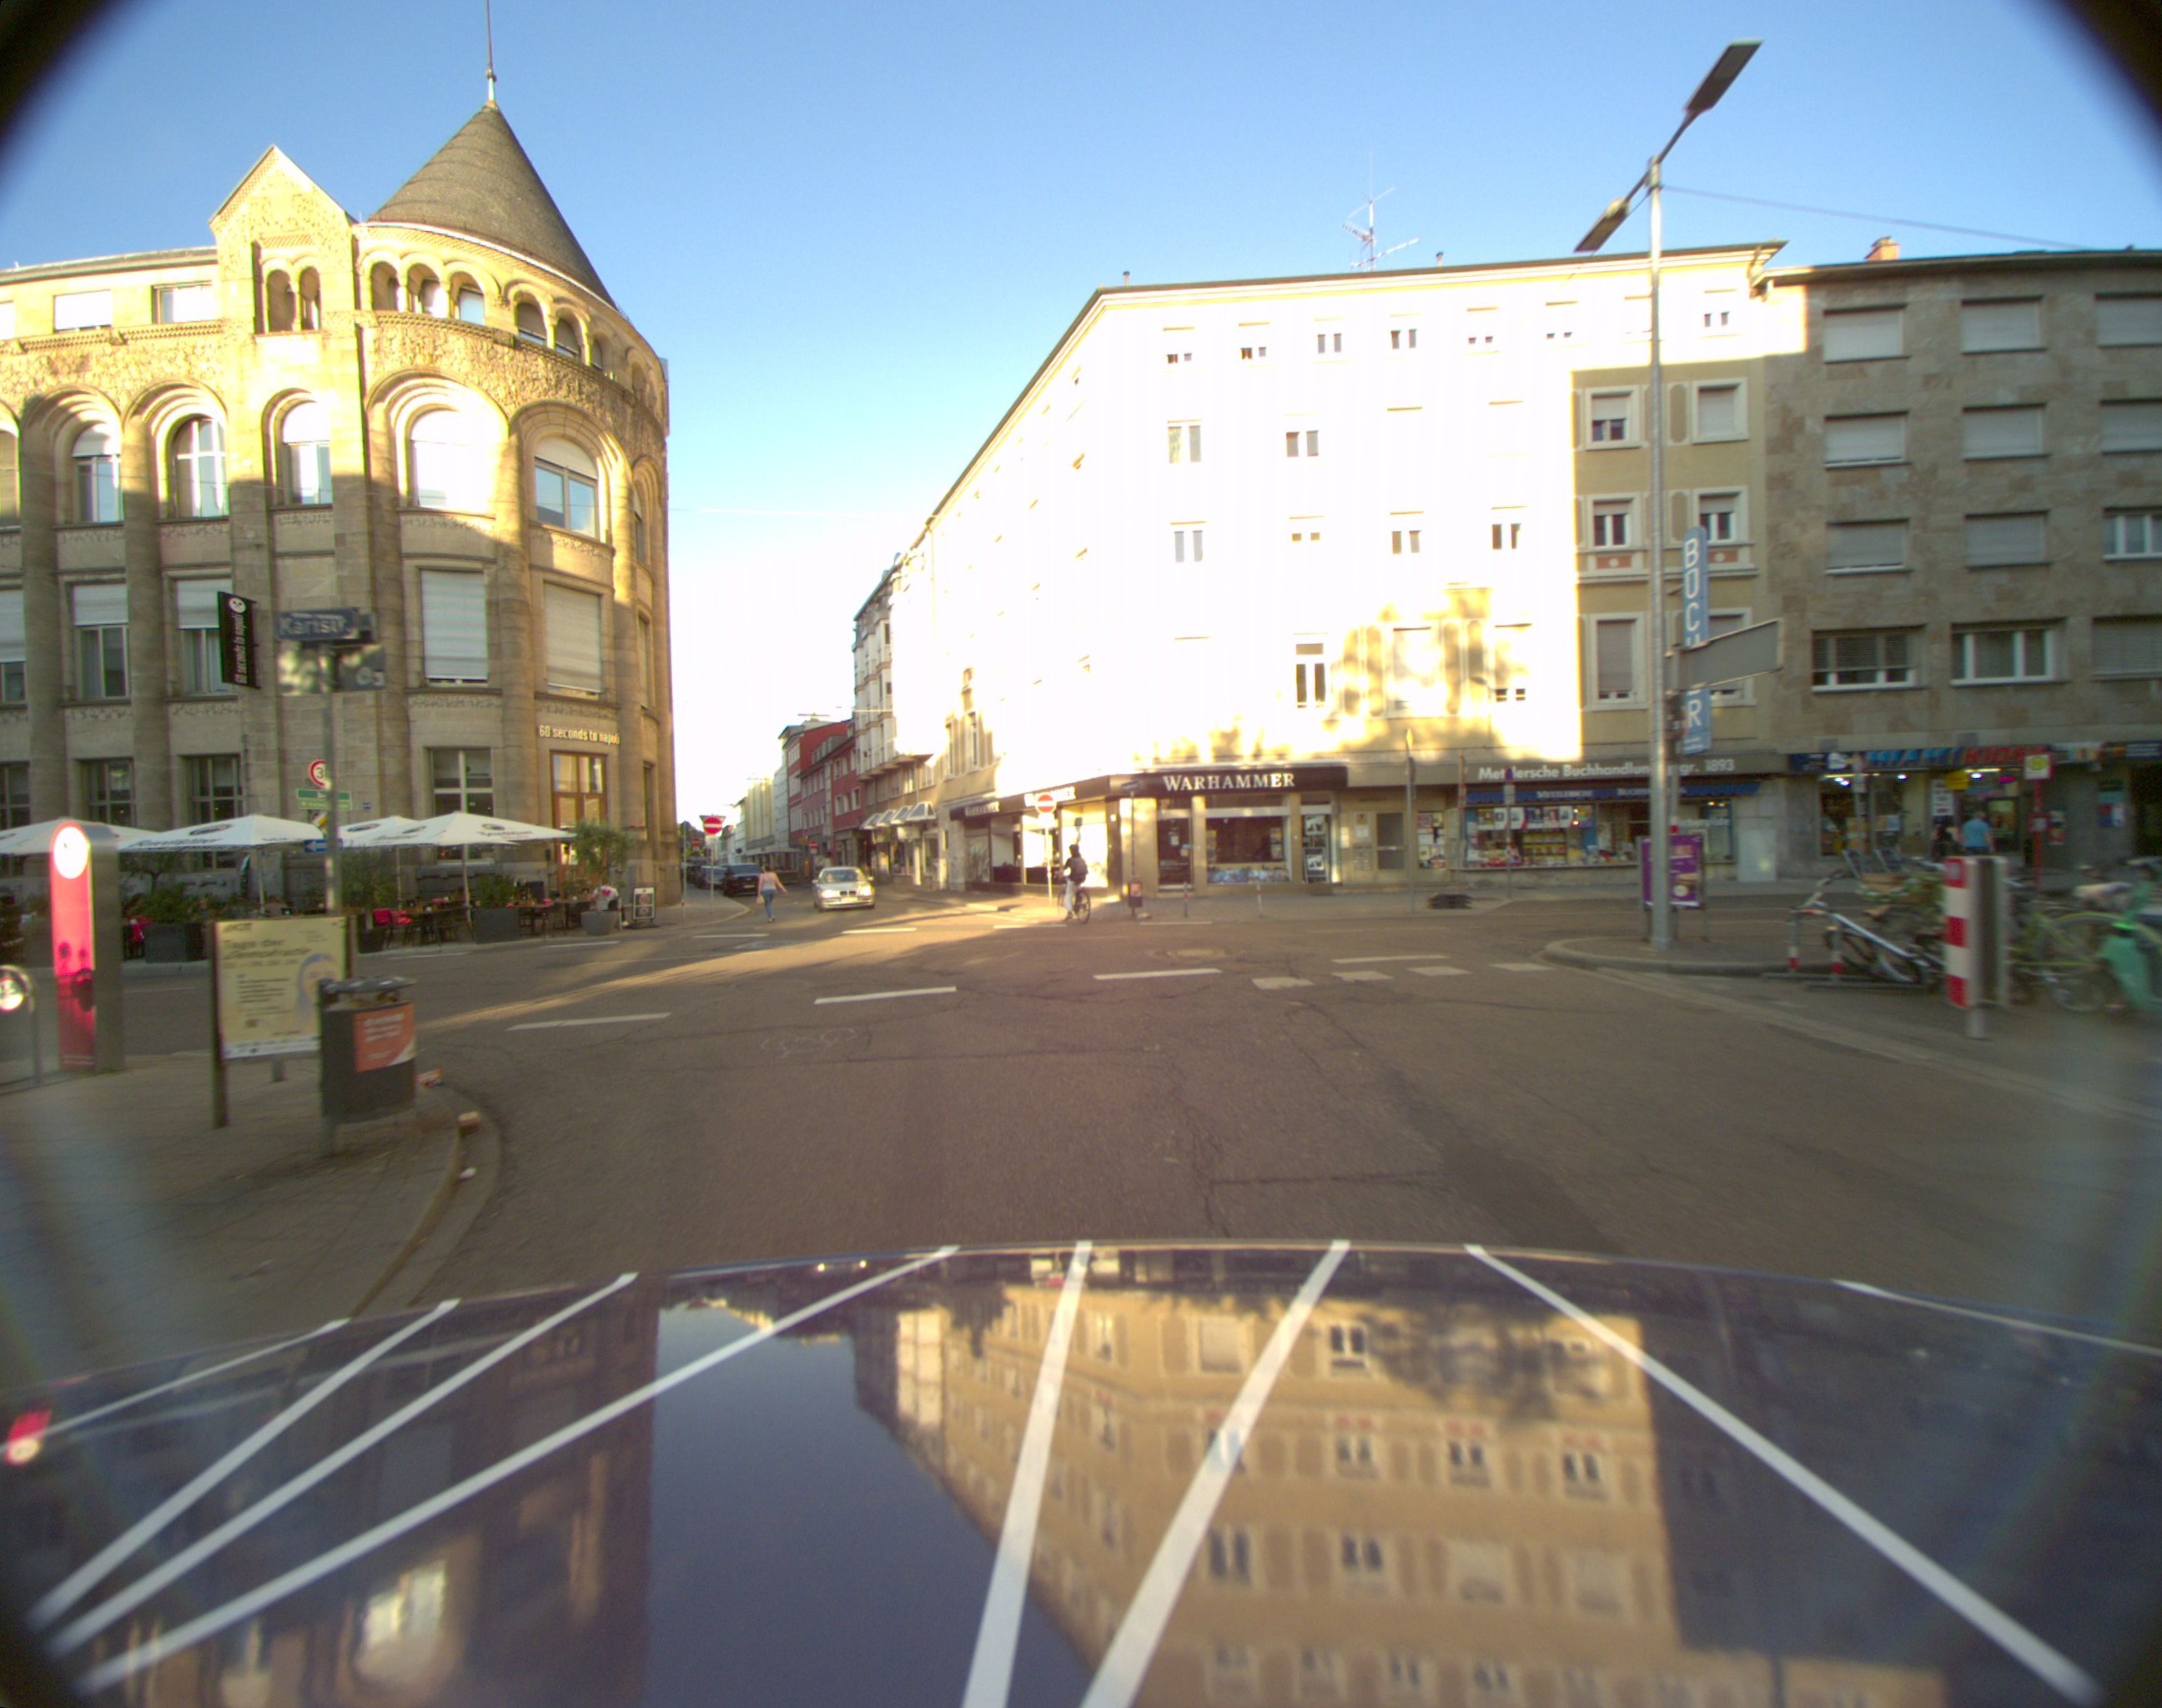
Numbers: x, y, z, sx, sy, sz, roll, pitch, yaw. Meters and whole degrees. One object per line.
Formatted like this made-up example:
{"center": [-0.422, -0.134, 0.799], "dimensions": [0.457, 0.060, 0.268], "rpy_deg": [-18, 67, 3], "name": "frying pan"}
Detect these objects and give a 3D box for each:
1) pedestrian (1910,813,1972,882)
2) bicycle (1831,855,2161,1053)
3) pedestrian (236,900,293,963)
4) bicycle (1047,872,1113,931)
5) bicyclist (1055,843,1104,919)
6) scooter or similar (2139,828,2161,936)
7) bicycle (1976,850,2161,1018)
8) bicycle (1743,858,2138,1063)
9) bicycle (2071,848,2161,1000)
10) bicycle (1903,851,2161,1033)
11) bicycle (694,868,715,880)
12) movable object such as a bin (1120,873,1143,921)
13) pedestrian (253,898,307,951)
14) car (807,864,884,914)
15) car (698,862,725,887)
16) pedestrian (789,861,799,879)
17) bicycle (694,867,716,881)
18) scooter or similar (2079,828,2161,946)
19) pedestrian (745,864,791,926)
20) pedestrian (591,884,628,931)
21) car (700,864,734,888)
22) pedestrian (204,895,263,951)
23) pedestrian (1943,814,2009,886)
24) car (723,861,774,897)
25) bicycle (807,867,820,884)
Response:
{"center": [21.682, -0.165, 19.172], "dimensions": [0.802, 1.697, 0.665], "rpy_deg": [-2, 1, 3], "name": "pedestrian"}
{"center": [7.247, 0.659, 6.011], "dimensions": [0.582, 1.248, 2.043], "rpy_deg": [-2, 1, -1], "name": "bicycle"}
{"center": [-17.370, 1.635, 16.178], "dimensions": [0.687, 1.238, 0.599], "rpy_deg": [-3, 1, -37], "name": "pedestrian"}
{"center": [-0.046, 0.981, 16.384], "dimensions": [0.667, 1.132, 1.818], "rpy_deg": [-3, 1, -26], "name": "bicycle"}
{"center": [-0.031, 0.567, 16.297], "dimensions": [0.661, 1.561, 0.861], "rpy_deg": [-3, 2, -28], "name": "bicyclist"}
{"center": [12.363, 0.323, 8.110], "dimensions": [0.387, 1.205, 1.270], "rpy_deg": [-2, 1, 2], "name": "scooter or similar"}
{"center": [8.511, 0.616, 6.056], "dimensions": [0.513, 1.248, 1.979], "rpy_deg": [-2, 1, 4], "name": "bicycle"}
{"center": [6.479, 0.695, 5.969], "dimensions": [0.665, 1.248, 2.140], "rpy_deg": [-2, 1, -1], "name": "bicycle"}
{"center": [9.263, 0.600, 5.941], "dimensions": [0.513, 1.248, 1.979], "rpy_deg": [-2, 1, 2], "name": "bicycle"}
{"center": [7.886, 0.627, 6.053], "dimensions": [0.513, 1.248, 1.978], "rpy_deg": [-2, 1, -1], "name": "bicycle"}
{"center": [-37.129, 1.972, 74.919], "dimensions": [1.878, 1.220, 0.595], "rpy_deg": [2, -1, -28], "name": "bicycle"}
{"center": [1.166, 0.989, 17.584], "dimensions": [0.361, 1.057, 0.355], "rpy_deg": [-3, 1, -39], "name": "movable object such as a bin"}
{"center": [-18.714, 1.639, 17.758], "dimensions": [0.573, 1.182, 0.601], "rpy_deg": [-2, 1, 6], "name": "pedestrian"}
{"center": [-7.942, 1.098, 25.337], "dimensions": [2.002, 1.414, 4.450], "rpy_deg": [-2, 0, -22], "name": "car"}
{"center": [-28.986, 1.602, 59.566], "dimensions": [1.678, 1.796, 4.230], "rpy_deg": [-3, 1, -27], "name": "car"}
{"center": [-24.199, 1.340, 64.109], "dimensions": [0.613, 1.464, 0.546], "rpy_deg": [-3, 2, -36], "name": "pedestrian"}
{"center": [-36.807, 1.937, 74.318], "dimensions": [1.878, 1.295, 0.595], "rpy_deg": [2, -1, -28], "name": "bicycle"}
{"center": [11.781, 0.350, 8.196], "dimensions": [0.387, 1.253, 1.270], "rpy_deg": [-2, 1, 2], "name": "scooter or similar"}
{"center": [-8.504, 1.094, 20.648], "dimensions": [0.732, 1.603, 0.806], "rpy_deg": [-1, 1, 33], "name": "pedestrian"}
{"center": [-12.623, 1.407, 20.353], "dimensions": [0.608, 1.182, 0.820], "rpy_deg": [-2, 1, -18], "name": "pedestrian"}
{"center": [-26.220, 1.549, 54.678], "dimensions": [1.782, 1.656, 3.990], "rpy_deg": [-2, 0, -31], "name": "car"}
{"center": [-19.811, 1.614, 17.774], "dimensions": [0.685, 1.238, 0.601], "rpy_deg": [-2, 1, 6], "name": "pedestrian"}
{"center": [21.774, -0.096, 18.490], "dimensions": [0.802, 1.697, 0.665], "rpy_deg": [-2, 1, 3], "name": "pedestrian"}
{"center": [-18.282, 1.300, 41.624], "dimensions": [2.003, 1.773, 4.923], "rpy_deg": [-2, 0, -29], "name": "car"}
{"center": [-19.372, 1.554, 55.062], "dimensions": [0.546, 1.185, 1.838], "rpy_deg": [-3, 1, -29], "name": "bicycle"}
